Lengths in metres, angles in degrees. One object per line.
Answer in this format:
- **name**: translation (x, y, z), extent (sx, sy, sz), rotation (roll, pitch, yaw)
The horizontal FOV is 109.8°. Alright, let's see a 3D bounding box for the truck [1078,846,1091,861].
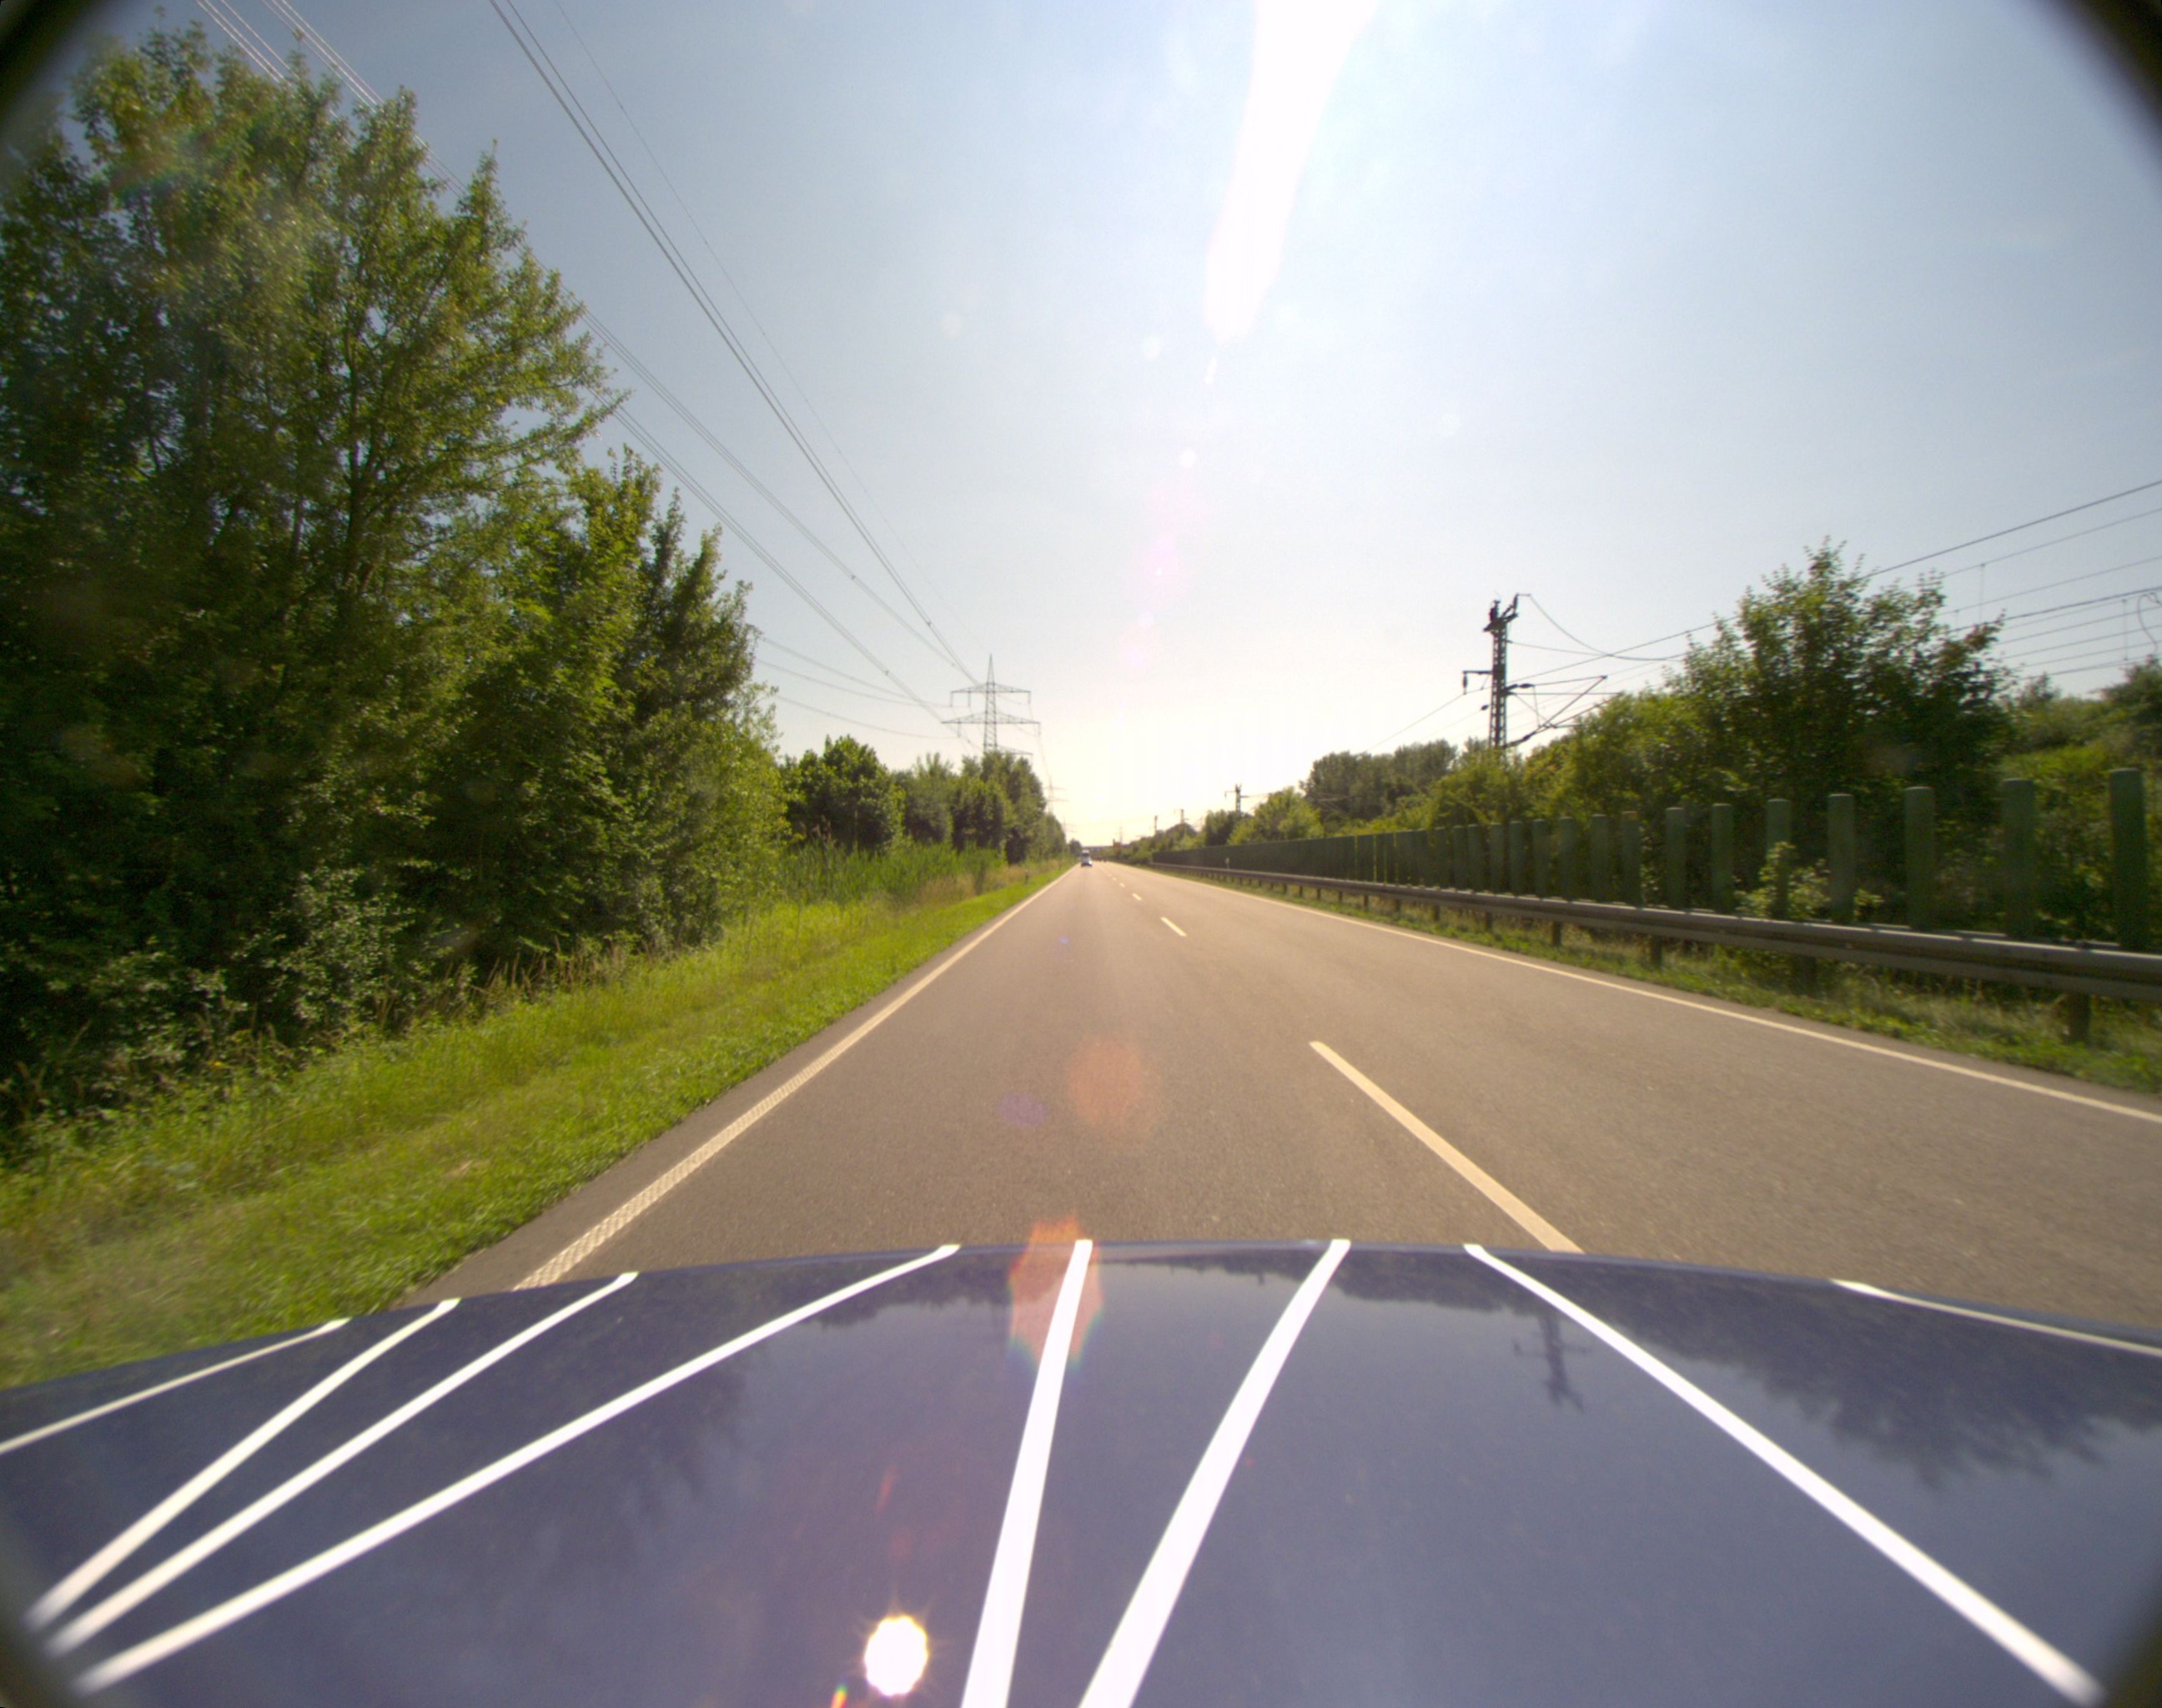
- **truck**: translation (1.213, -0.143, 263.495), extent (4.219, 4.608, 21.303), rotation (-2, 0, 0)

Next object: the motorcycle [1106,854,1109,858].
- **motorcycle**: translation (6.966, 0.587, 197.363), extent (0.756, 1.008, 2.721), rotation (-2, 0, 2)

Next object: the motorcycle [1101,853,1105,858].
- **motorcycle**: translation (6.382, 0.509, 220.348), extent (0.970, 1.487, 2.630), rotation (-2, 1, 2)

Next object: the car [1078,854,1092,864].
- **car**: translation (0.629, 0.739, 115.409), extent (1.999, 1.346, 4.157), rotation (-2, 0, 0)
